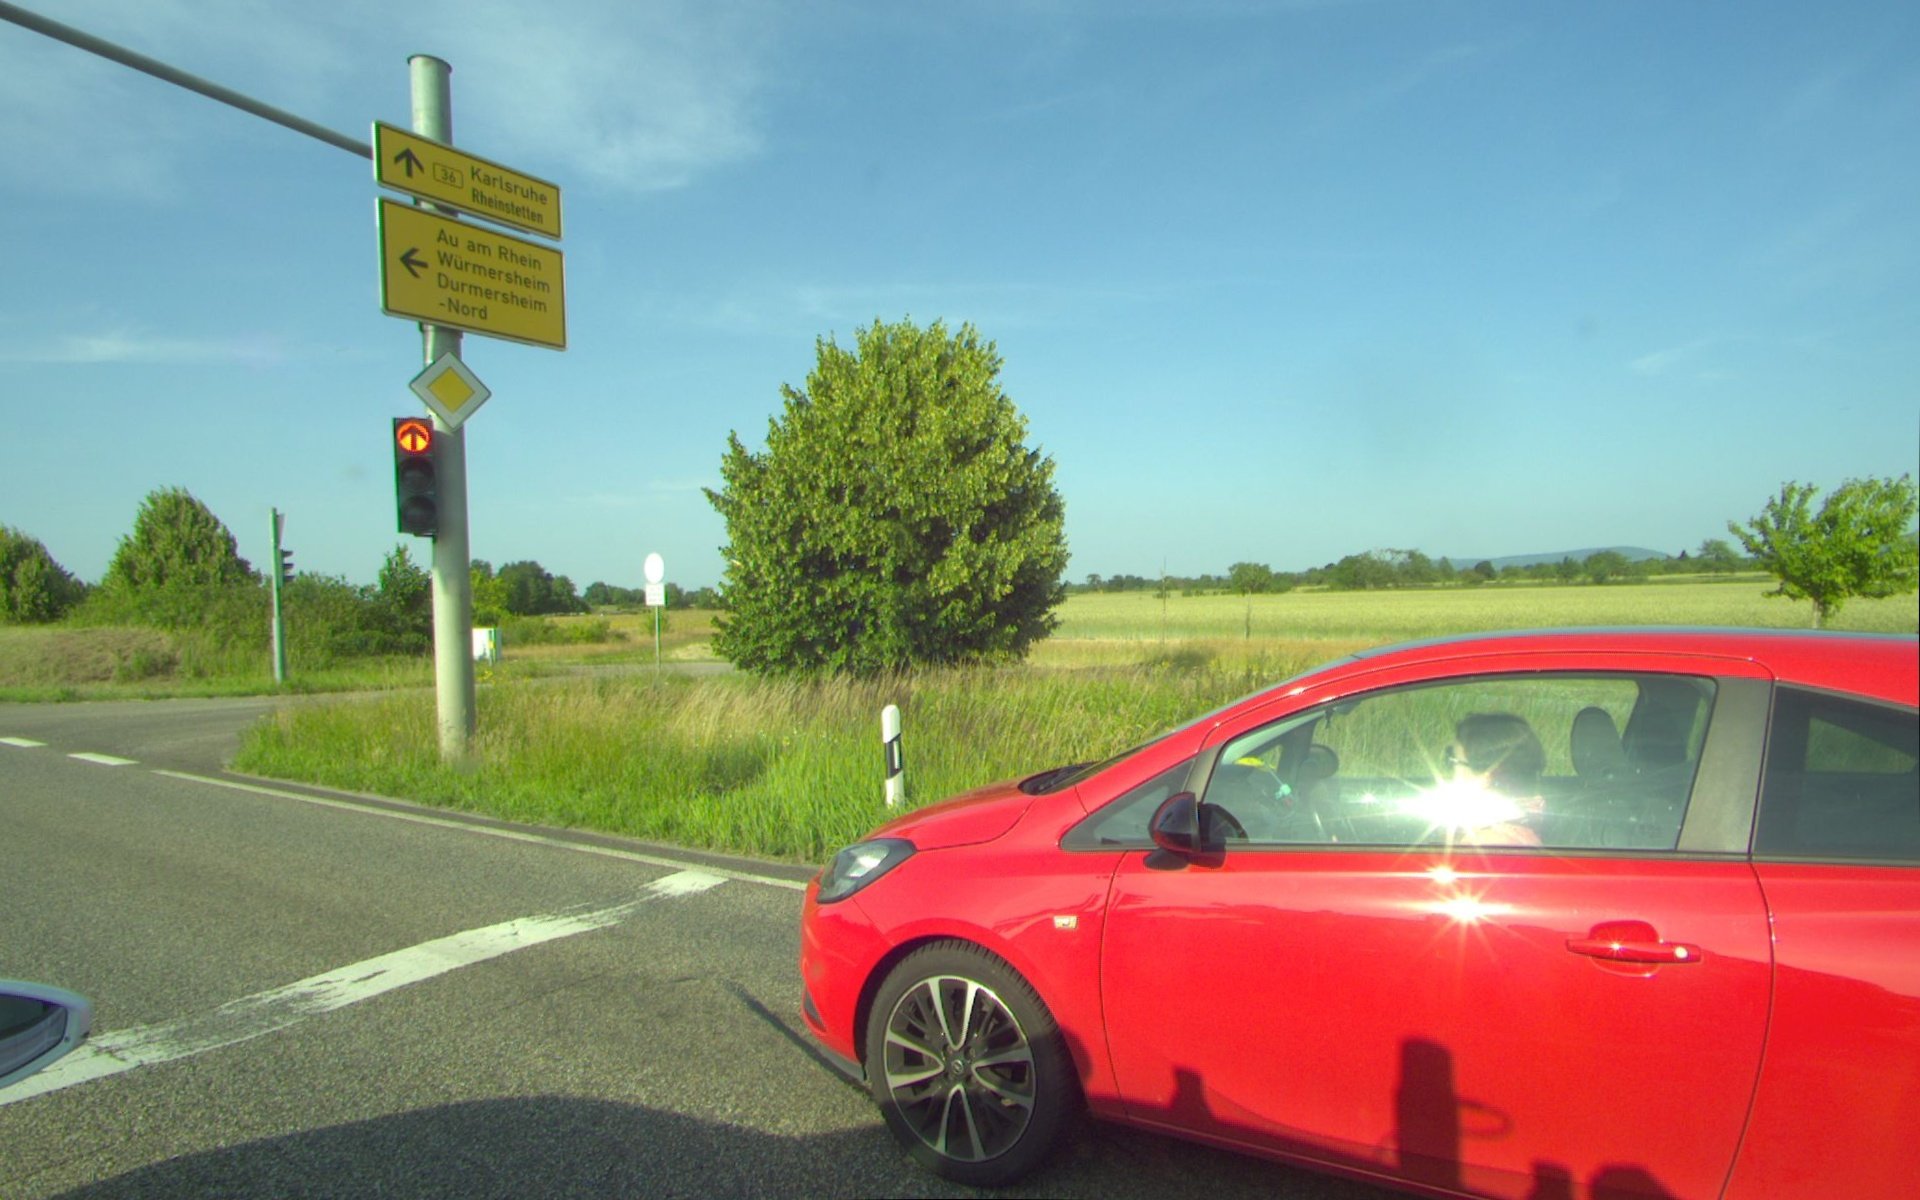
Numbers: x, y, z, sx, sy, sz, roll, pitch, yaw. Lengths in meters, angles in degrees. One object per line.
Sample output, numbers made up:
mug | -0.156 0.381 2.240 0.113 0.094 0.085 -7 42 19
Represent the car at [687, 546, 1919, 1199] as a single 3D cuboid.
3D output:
car | 1.193 0.714 2.886 3.693 1.569 1.695 -1 0 29
